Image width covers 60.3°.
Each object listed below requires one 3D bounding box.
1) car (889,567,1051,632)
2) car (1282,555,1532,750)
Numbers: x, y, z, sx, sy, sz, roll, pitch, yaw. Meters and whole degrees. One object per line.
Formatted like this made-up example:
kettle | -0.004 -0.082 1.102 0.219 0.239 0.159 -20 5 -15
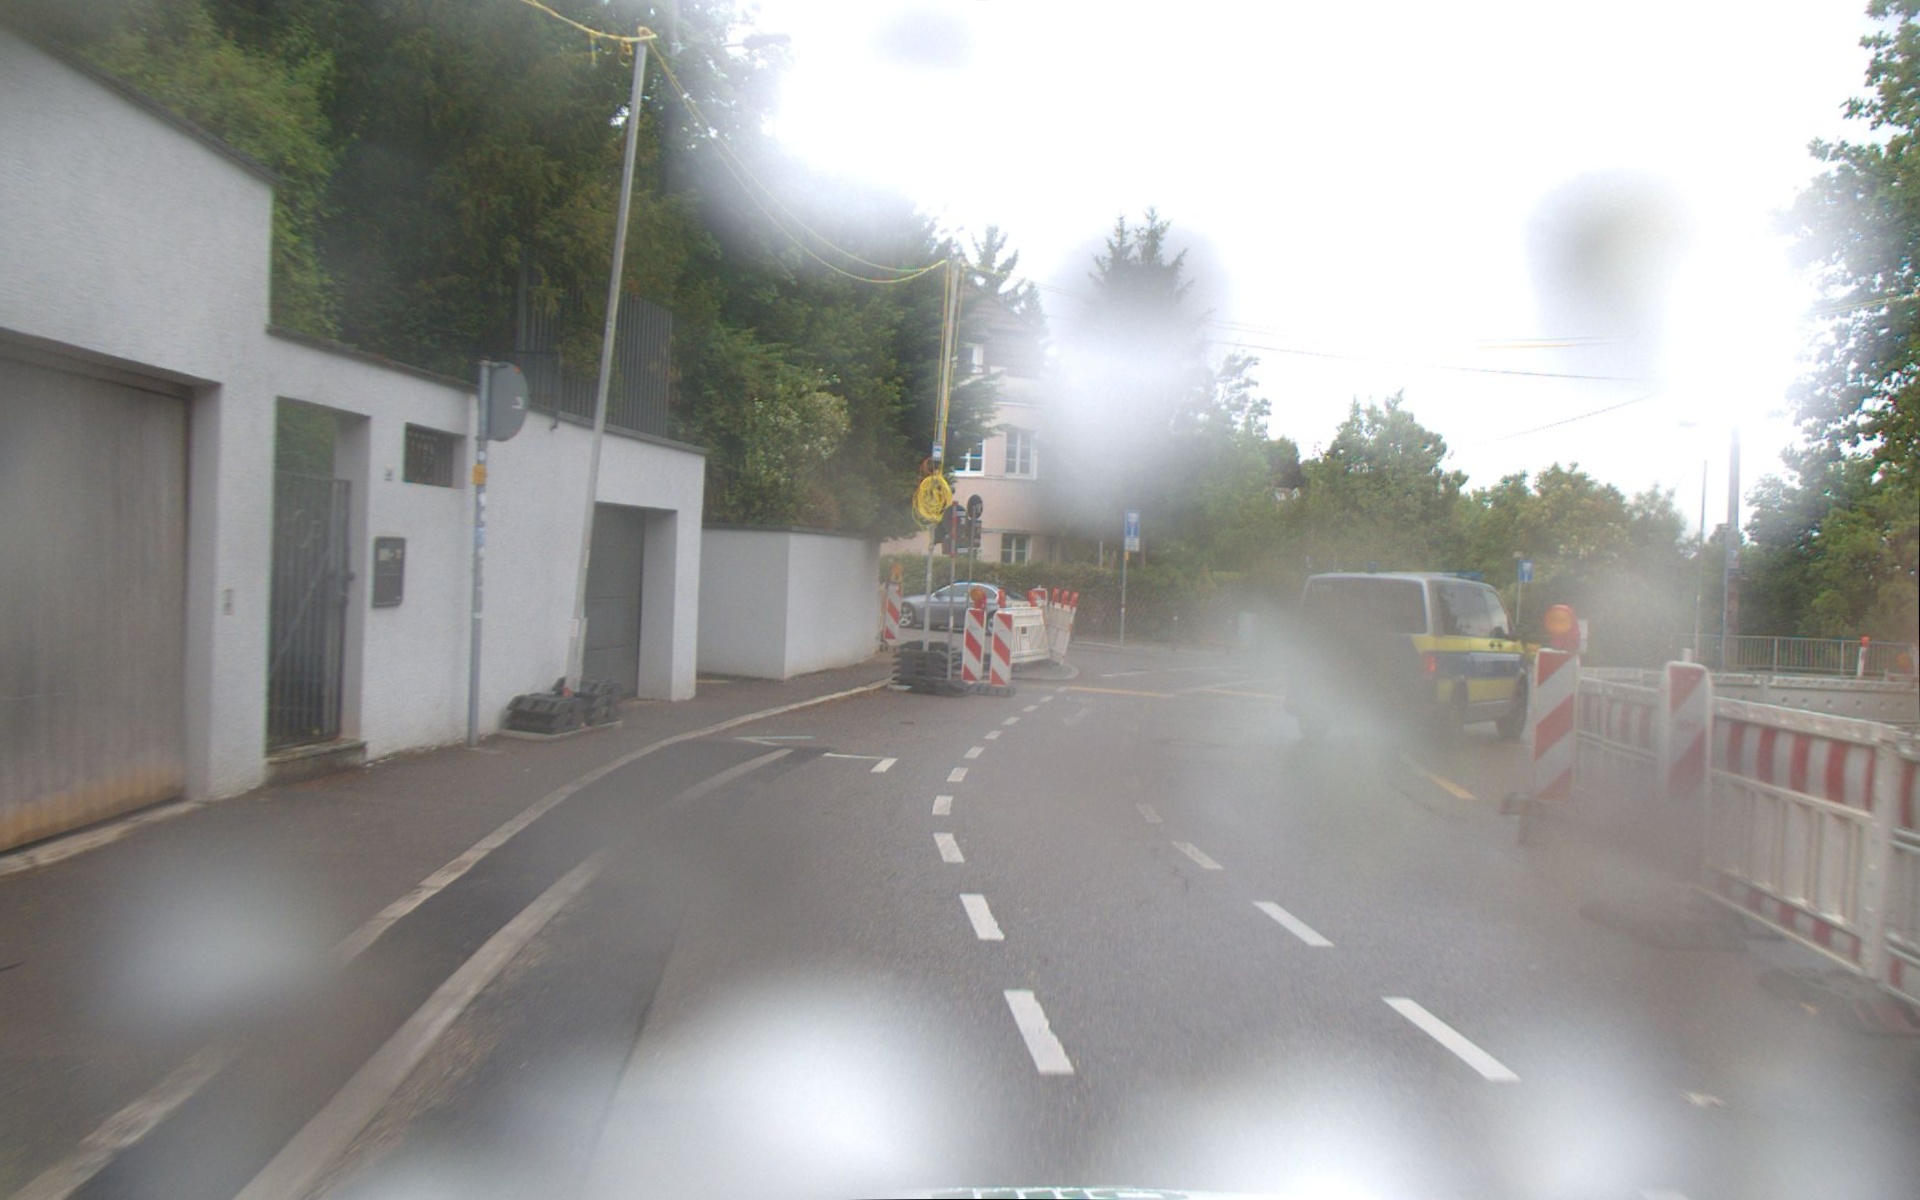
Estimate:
car | 0.262 -0.014 44.101 3.909 1.544 1.726 3 -1 26
car | 5.542 0.613 20.085 1.872 2.045 4.431 2 -1 29
